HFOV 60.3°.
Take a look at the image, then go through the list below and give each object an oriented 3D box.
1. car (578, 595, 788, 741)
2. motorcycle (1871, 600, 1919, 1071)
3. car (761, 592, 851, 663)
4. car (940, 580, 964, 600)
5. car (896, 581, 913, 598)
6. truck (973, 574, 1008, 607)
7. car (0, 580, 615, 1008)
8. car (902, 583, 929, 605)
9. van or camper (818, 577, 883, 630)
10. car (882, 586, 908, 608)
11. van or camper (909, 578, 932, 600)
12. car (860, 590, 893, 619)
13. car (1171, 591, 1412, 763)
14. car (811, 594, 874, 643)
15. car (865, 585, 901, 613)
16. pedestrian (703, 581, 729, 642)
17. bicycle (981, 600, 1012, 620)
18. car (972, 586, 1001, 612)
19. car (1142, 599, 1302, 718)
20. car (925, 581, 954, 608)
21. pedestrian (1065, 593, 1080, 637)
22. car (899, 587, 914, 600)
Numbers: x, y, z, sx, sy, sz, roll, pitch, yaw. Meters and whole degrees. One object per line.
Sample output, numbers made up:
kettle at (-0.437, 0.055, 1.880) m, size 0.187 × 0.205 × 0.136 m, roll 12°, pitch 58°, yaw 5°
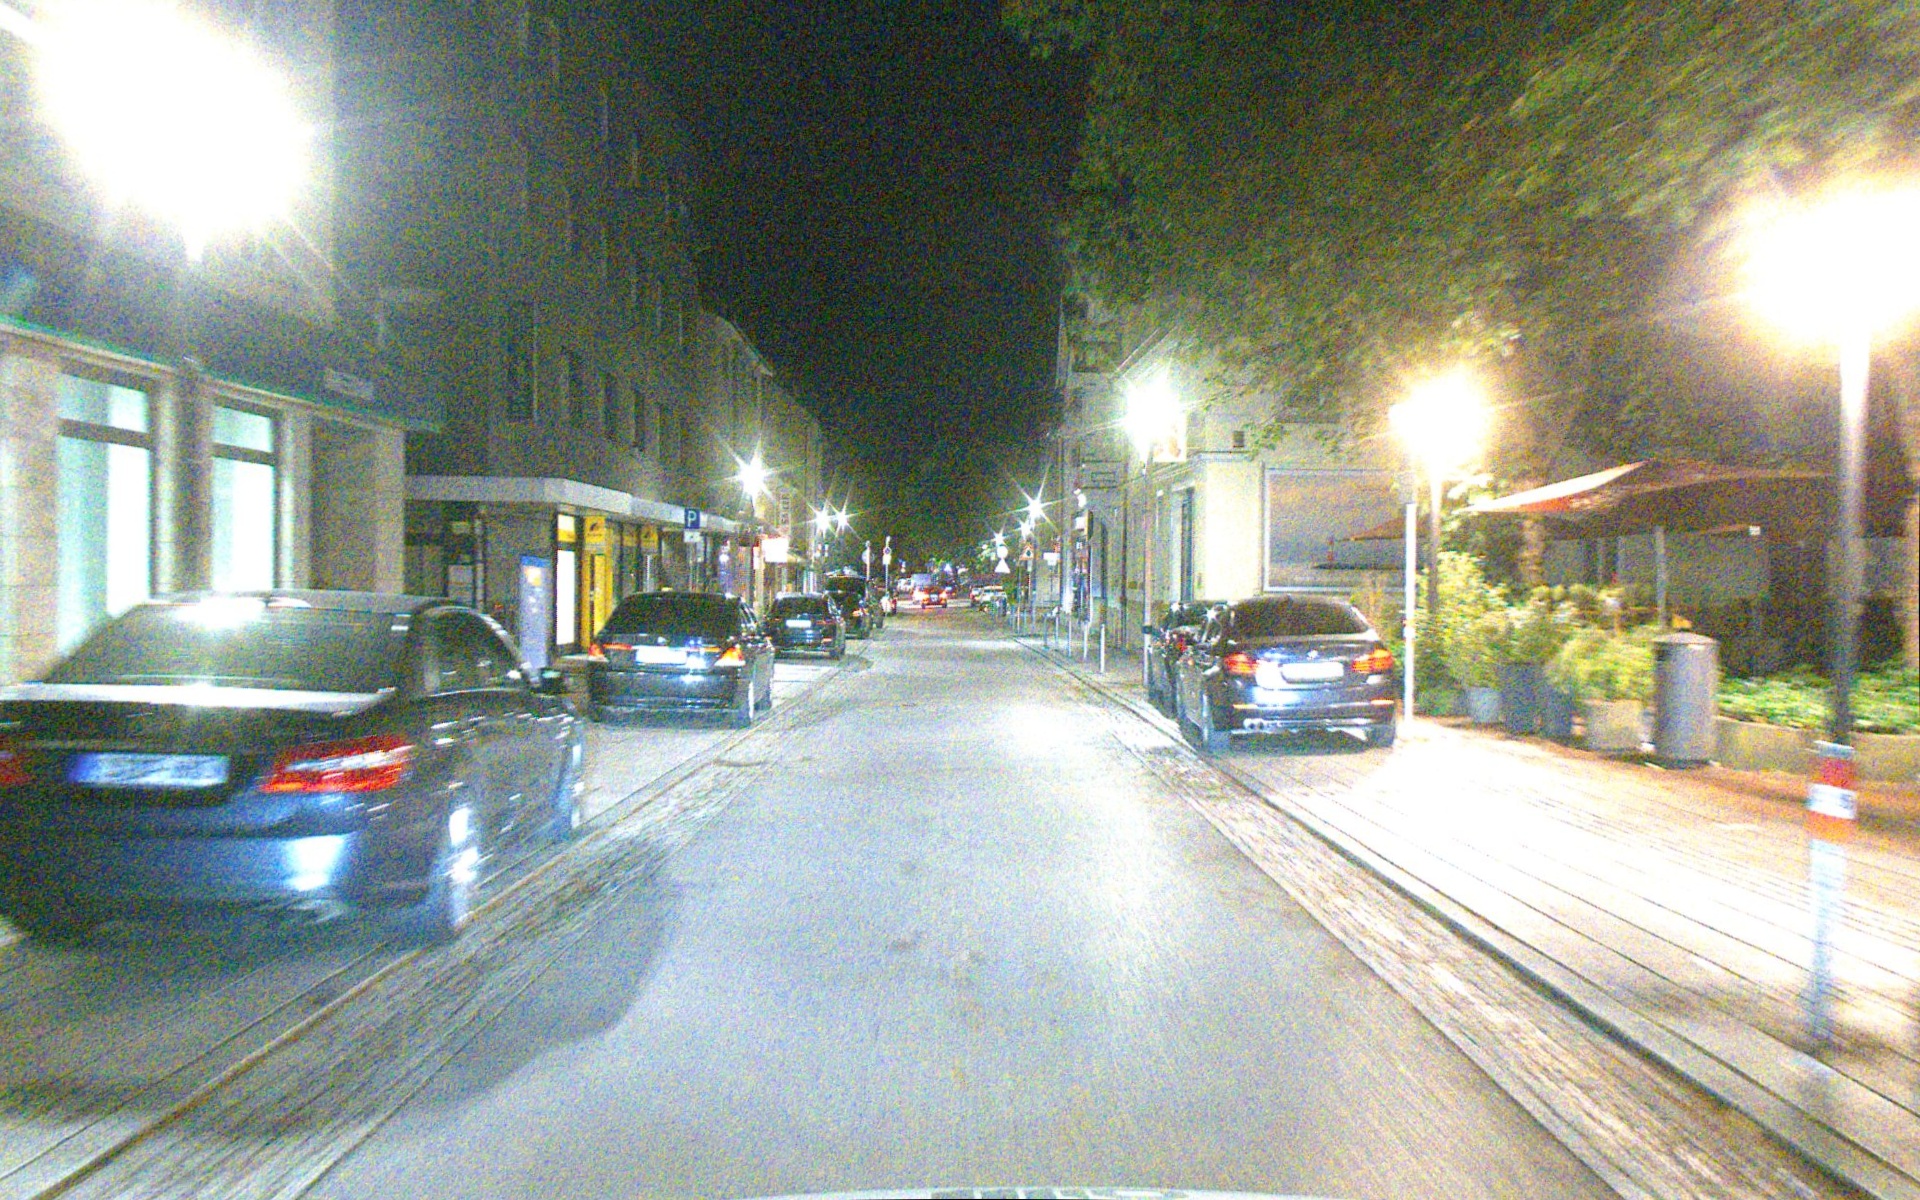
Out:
car at (-3.176, 0.713, 19.855) m, size 1.807 × 1.489 × 4.622 m, roll 2°, pitch 0°, yaw -1°
motorcycle at (3.986, 0.698, 4.863) m, size 2.218 × 1.415 × 0.661 m, roll -1°, pitch 0°, yaw 24°
car at (-3.464, 0.588, 37.874) m, size 1.761 × 1.504 × 4.320 m, roll 1°, pitch 0°, yaw -2°
car at (-0.767, -0.945, 155.454) m, size 1.780 × 1.860 × 4.340 m, roll 0°, pitch 1°, yaw -7°
car at (-6.762, -1.276, 199.862) m, size 1.804 × 1.934 × 3.840 m, roll 0°, pitch 1°, yaw -6°
truck at (2.173, -0.715, 119.661) m, size 2.289 × 2.352 × 5.779 m, roll -1°, pitch 1°, yaw -2°
car at (-2.972, 0.670, 8.068) m, size 1.862 × 1.496 × 4.522 m, roll 0°, pitch 0°, yaw -3°
car at (-3.622, -0.522, 133.863) m, size 1.955 × 1.732 × 3.995 m, roll 0°, pitch 0°, yaw -6°
van or camper at (-4.218, 0.108, 64.462) m, size 1.807 × 1.976 × 5.156 m, roll 1°, pitch 0°, yaw 4°
car at (-4.891, -0.239, 124.255) m, size 1.641 × 1.570 × 4.224 m, roll 1°, pitch 0°, yaw -7°
van or camper at (-4.358, -1.220, 181.353) m, size 2.069 × 2.357 × 4.255 m, roll -1°, pitch 1°, yaw -8°
car at (-4.544, 0.229, 90.578) m, size 1.693 × 1.502 × 3.845 m, roll 1°, pitch 1°, yaw -2°
car at (3.260, 0.687, 17.090) m, size 1.717 × 1.489 × 4.468 m, roll -2°, pitch 0°, yaw 2°
car at (-3.660, 0.550, 52.115) m, size 1.682 × 1.437 × 4.385 m, roll 1°, pitch 0°, yaw 0°
car at (-4.454, -0.072, 96.204) m, size 1.979 × 1.514 × 5.006 m, roll 3°, pitch 0°, yaw -2°
pedestrian at (-7.217, 0.339, 48.880) m, size 0.608 × 1.776 × 1.022 m, roll 1°, pitch 0°, yaw -1°
bicycle at (2.068, 0.572, 92.816) m, size 1.719 × 1.080 × 0.346 m, roll 0°, pitch 0°, yaw -4°
car at (1.656, -0.086, 104.133) m, size 1.753 × 1.517 × 4.059 m, roll -1°, pitch 1°, yaw 0°
car at (3.457, 0.721, 22.453) m, size 1.626 × 1.401 × 4.105 m, roll -2°, pitch 0°, yaw 2°
car at (-1.497, -0.401, 118.106) m, size 1.953 × 1.855 × 3.998 m, roll 0°, pitch 0°, yaw -2°
pedestrian at (4.041, 0.542, 59.220) m, size 0.490 × 1.574 × 0.480 m, roll 1°, pitch 0°, yaw 5°
car at (-6.298, -0.801, 194.016) m, size 1.502 × 1.443 × 3.840 m, roll 0°, pitch 1°, yaw -6°
